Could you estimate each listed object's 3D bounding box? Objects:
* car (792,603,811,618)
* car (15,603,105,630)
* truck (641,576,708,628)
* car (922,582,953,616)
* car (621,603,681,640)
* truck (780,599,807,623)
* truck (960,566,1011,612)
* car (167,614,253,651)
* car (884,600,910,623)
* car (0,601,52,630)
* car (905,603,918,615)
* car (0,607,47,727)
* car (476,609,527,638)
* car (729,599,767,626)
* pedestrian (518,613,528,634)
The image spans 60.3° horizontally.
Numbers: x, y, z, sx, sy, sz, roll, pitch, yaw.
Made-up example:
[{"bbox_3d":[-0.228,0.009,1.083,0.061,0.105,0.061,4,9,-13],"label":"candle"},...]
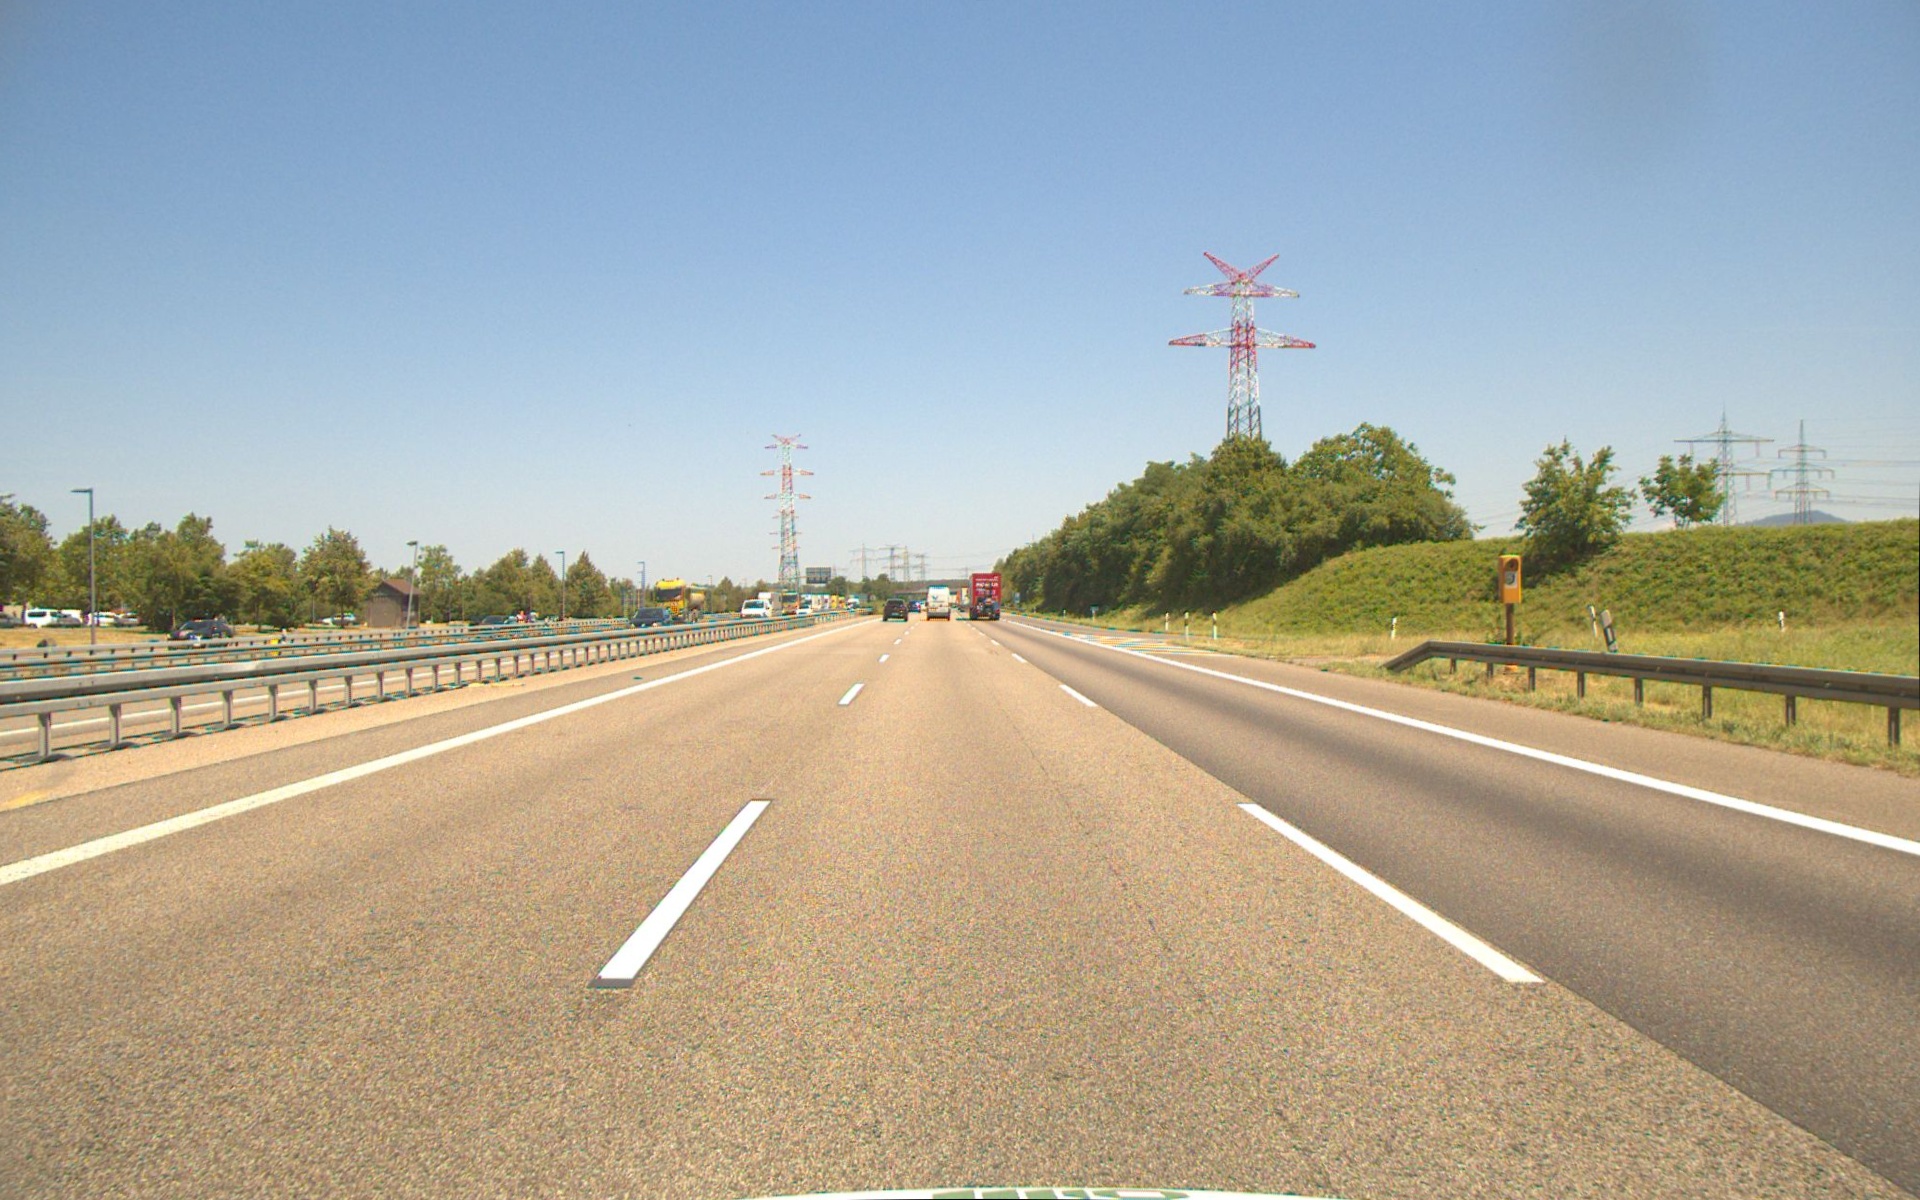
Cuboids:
[{"bbox_3d":[-19.763,1.304,206.635,2.011,1.875,5.471,-1,0,-2],"label":"car"},{"bbox_3d":[-73.196,1.332,134.619,6.142,2.161,2.444,1,0,-38],"label":"car"},{"bbox_3d":[-22.529,0.141,131.226,3.107,3.877,13.528,-1,0,-1],"label":"truck"},{"bbox_3d":[-1.924,-0.118,141.505,2.568,2.807,6.095,1,0,-1],"label":"car"},{"bbox_3d":[-14.791,0.991,79.321,2.011,1.578,4.889,-3,0,-2],"label":"car"},{"bbox_3d":[-23.678,1.598,235.102,2.662,3.316,12.386,-1,0,-1],"label":"truck"},{"bbox_3d":[2.216,-0.984,151.092,4.243,4.010,16.074,1,0,-1],"label":"truck"},{"bbox_3d":[-36.891,1.579,81.478,2.011,1.578,4.889,-3,0,-2],"label":"car"},{"bbox_3d":[-4.991,0.916,131.348,1.953,1.780,3.999,1,0,-2],"label":"car"},{"bbox_3d":[-73.654,1.203,127.412,6.142,2.161,2.444,1,0,-38],"label":"car"},{"bbox_3d":[-6.742,1.223,230.293,1.712,1.662,4.002,1,0,-1],"label":"car"},{"bbox_3d":[-13.682,0.949,20.529,2.011,1.578,4.889,-3,0,-2],"label":"car"},{"bbox_3d":[-31.145,1.551,112.470,2.011,1.875,5.471,-1,0,-2],"label":"car"},{"bbox_3d":[-15.162,0.858,118.565,2.011,1.875,5.941,-1,0,-2],"label":"car"},{"bbox_3d":[-29.942,1.604,113.285,0.494,1.447,0.494,1,0,-34],"label":"pedestrian"}]
